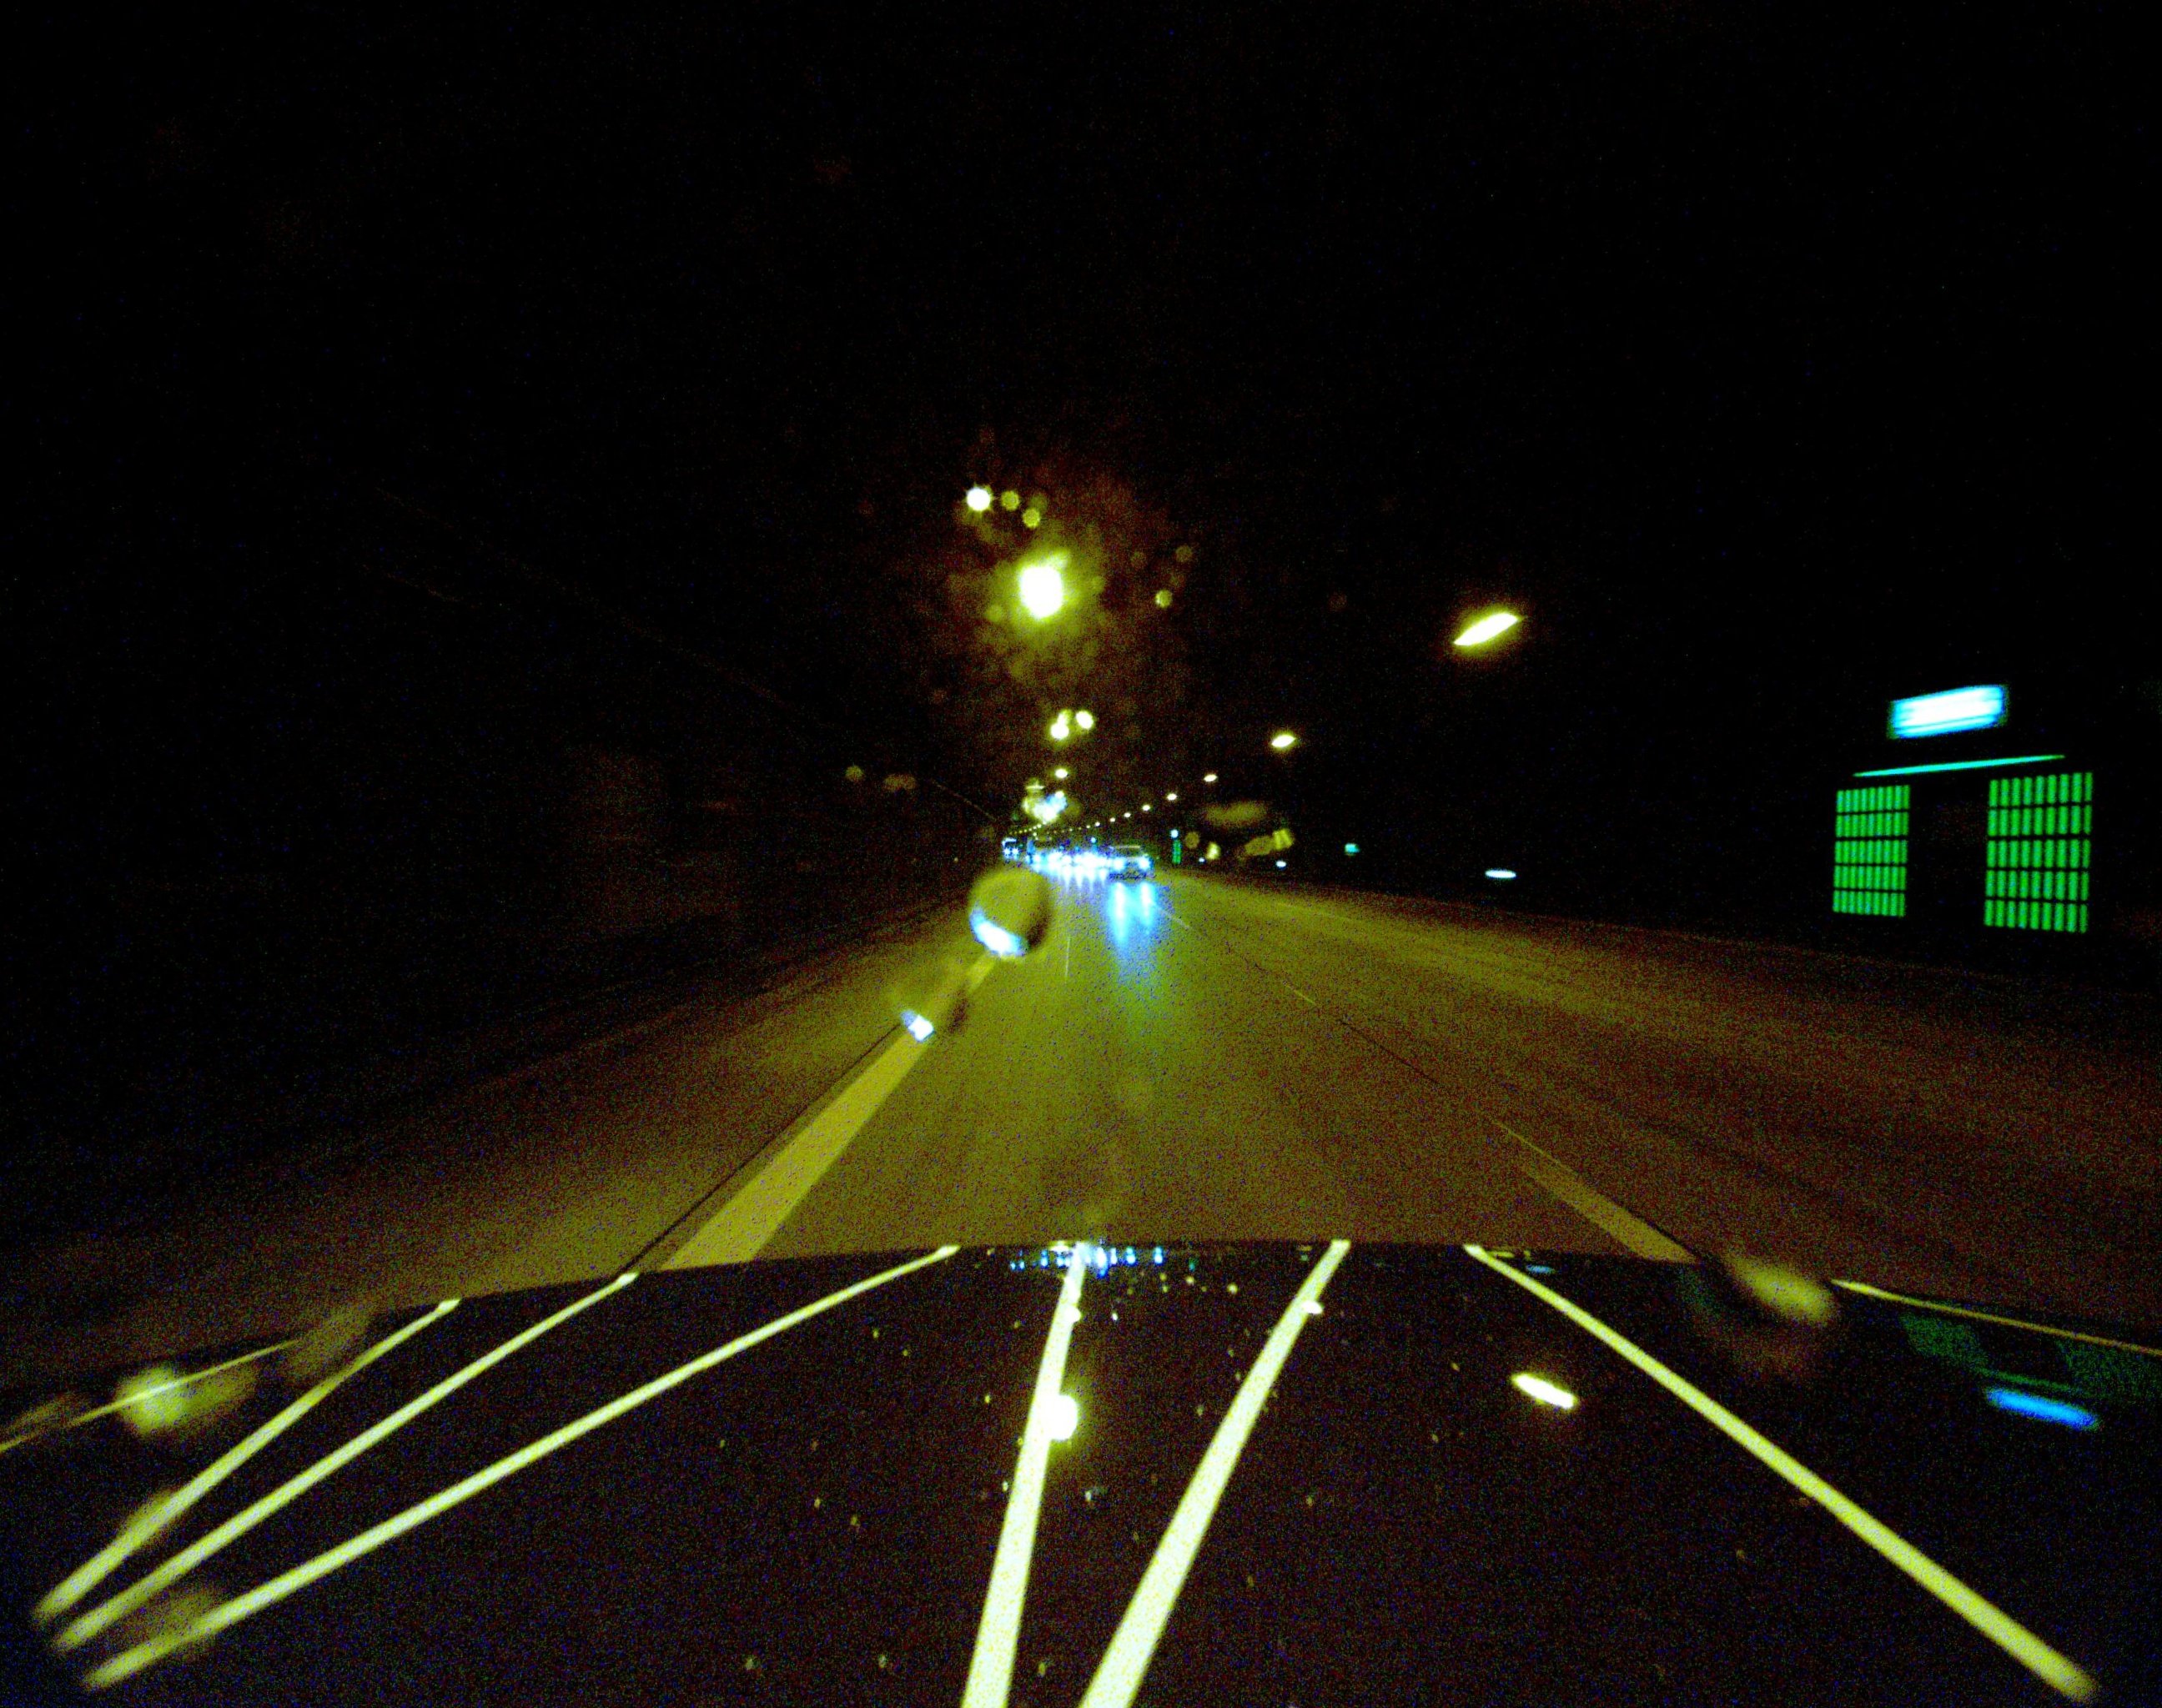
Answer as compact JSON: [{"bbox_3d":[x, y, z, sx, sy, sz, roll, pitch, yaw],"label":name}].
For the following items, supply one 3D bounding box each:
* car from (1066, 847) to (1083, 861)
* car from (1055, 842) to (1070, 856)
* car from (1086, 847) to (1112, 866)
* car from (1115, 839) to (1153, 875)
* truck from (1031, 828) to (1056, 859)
[{"bbox_3d":[-0.787,0.016,87.462,1.759,1.567,3.998,-2,0,-4],"label":"car"},{"bbox_3d":[-2.892,-0.773,118.570,2.000,2.003,3.995,-1,3,-6],"label":"car"},{"bbox_3d":[1.647,0.230,70.218,1.911,1.637,3.998,-2,0,-5],"label":"car"},{"bbox_3d":[3.133,0.189,45.679,1.998,2.002,4.360,-1,0,0],"label":"car"},{"bbox_3d":[-5.352,-1.590,107.342,3.144,4.137,7.381,-1,2,-6],"label":"truck"}]
